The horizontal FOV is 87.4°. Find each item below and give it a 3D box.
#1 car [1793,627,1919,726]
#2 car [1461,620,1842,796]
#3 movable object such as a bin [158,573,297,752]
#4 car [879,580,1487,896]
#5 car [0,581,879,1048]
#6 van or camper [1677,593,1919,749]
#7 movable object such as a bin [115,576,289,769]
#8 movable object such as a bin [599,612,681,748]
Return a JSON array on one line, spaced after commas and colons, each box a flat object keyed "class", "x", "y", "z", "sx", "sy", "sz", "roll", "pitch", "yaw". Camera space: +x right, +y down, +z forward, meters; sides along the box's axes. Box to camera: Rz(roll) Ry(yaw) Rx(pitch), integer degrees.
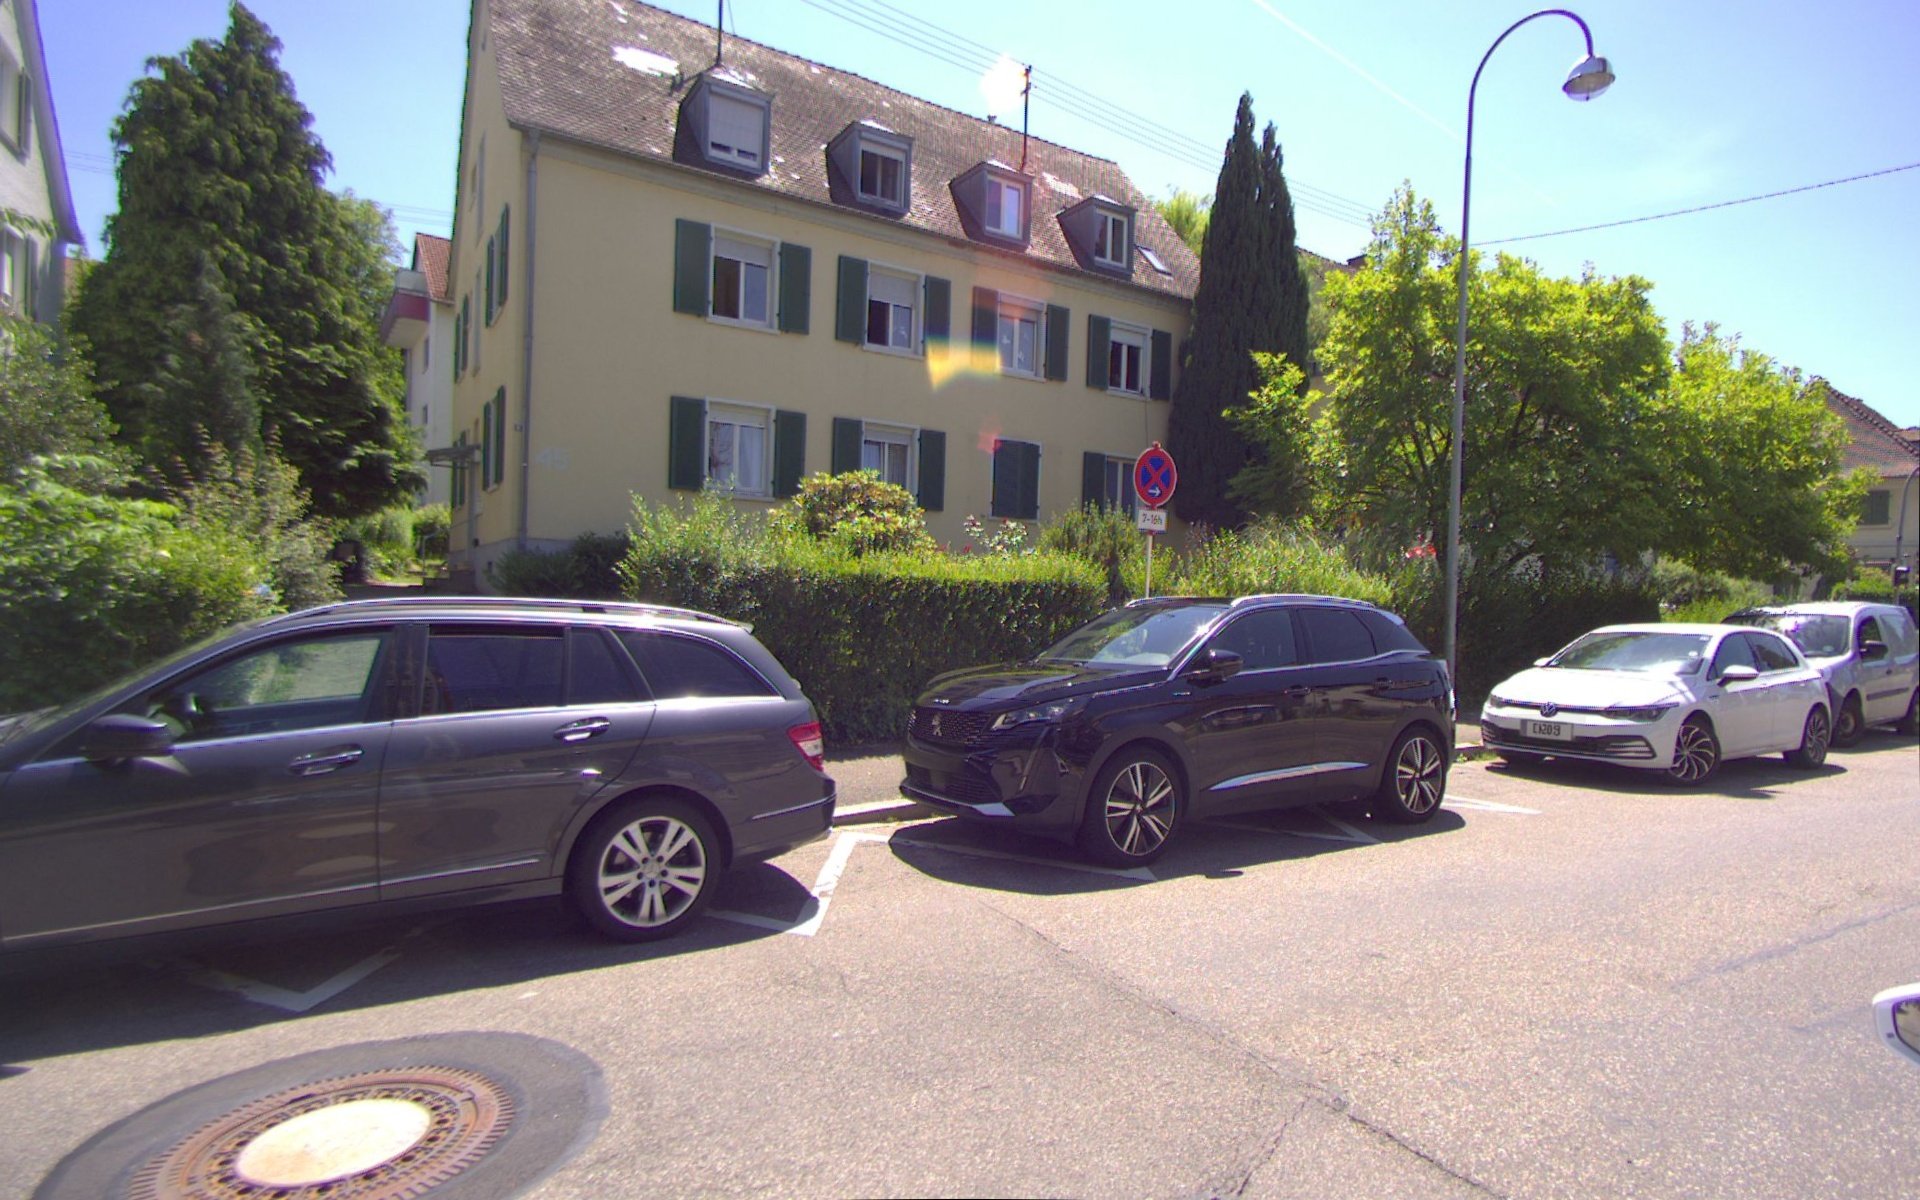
[{"class": "car", "x": 15.223, "y": 1.174, "z": 16.329, "sx": 3.887, "sy": 1.431, "sz": 1.670, "roll": 1, "pitch": -1, "yaw": -35}, {"class": "car", "x": 7.132, "y": 0.960, "z": 10.246, "sx": 4.199, "sy": 1.460, "sz": 1.672, "roll": 1, "pitch": -1, "yaw": -32}, {"class": "movable object such as a bin", "x": -6.365, "y": 0.519, "z": 8.778, "sx": 0.907, "sy": 1.472, "sz": 0.653, "roll": 1, "pitch": 0, "yaw": -31}, {"class": "car", "x": 1.713, "y": 0.772, "z": 7.130, "sx": 4.282, "sy": 1.659, "sz": 1.672, "roll": 1, "pitch": -1, "yaw": -32}, {"class": "car", "x": -2.648, "y": 0.715, "z": 4.474, "sx": 4.282, "sy": 1.495, "sz": 1.672, "roll": 1, "pitch": -1, "yaw": -32}, {"class": "van or camper", "x": 11.463, "y": 0.876, "z": 13.528, "sx": 3.943, "sy": 1.828, "sz": 1.671, "roll": 1, "pitch": -1, "yaw": -34}, {"class": "movable object such as a bin", "x": -5.685, "y": 0.513, "z": 7.599, "sx": 0.952, "sy": 1.349, "sz": 0.749, "roll": 1, "pitch": 0, "yaw": -31}, {"class": "movable object such as a bin", "x": -2.853, "y": 0.686, "z": 8.925, "sx": 0.588, "sy": 1.136, "sz": 0.617, "roll": 1, "pitch": 1, "yaw": -27}]
